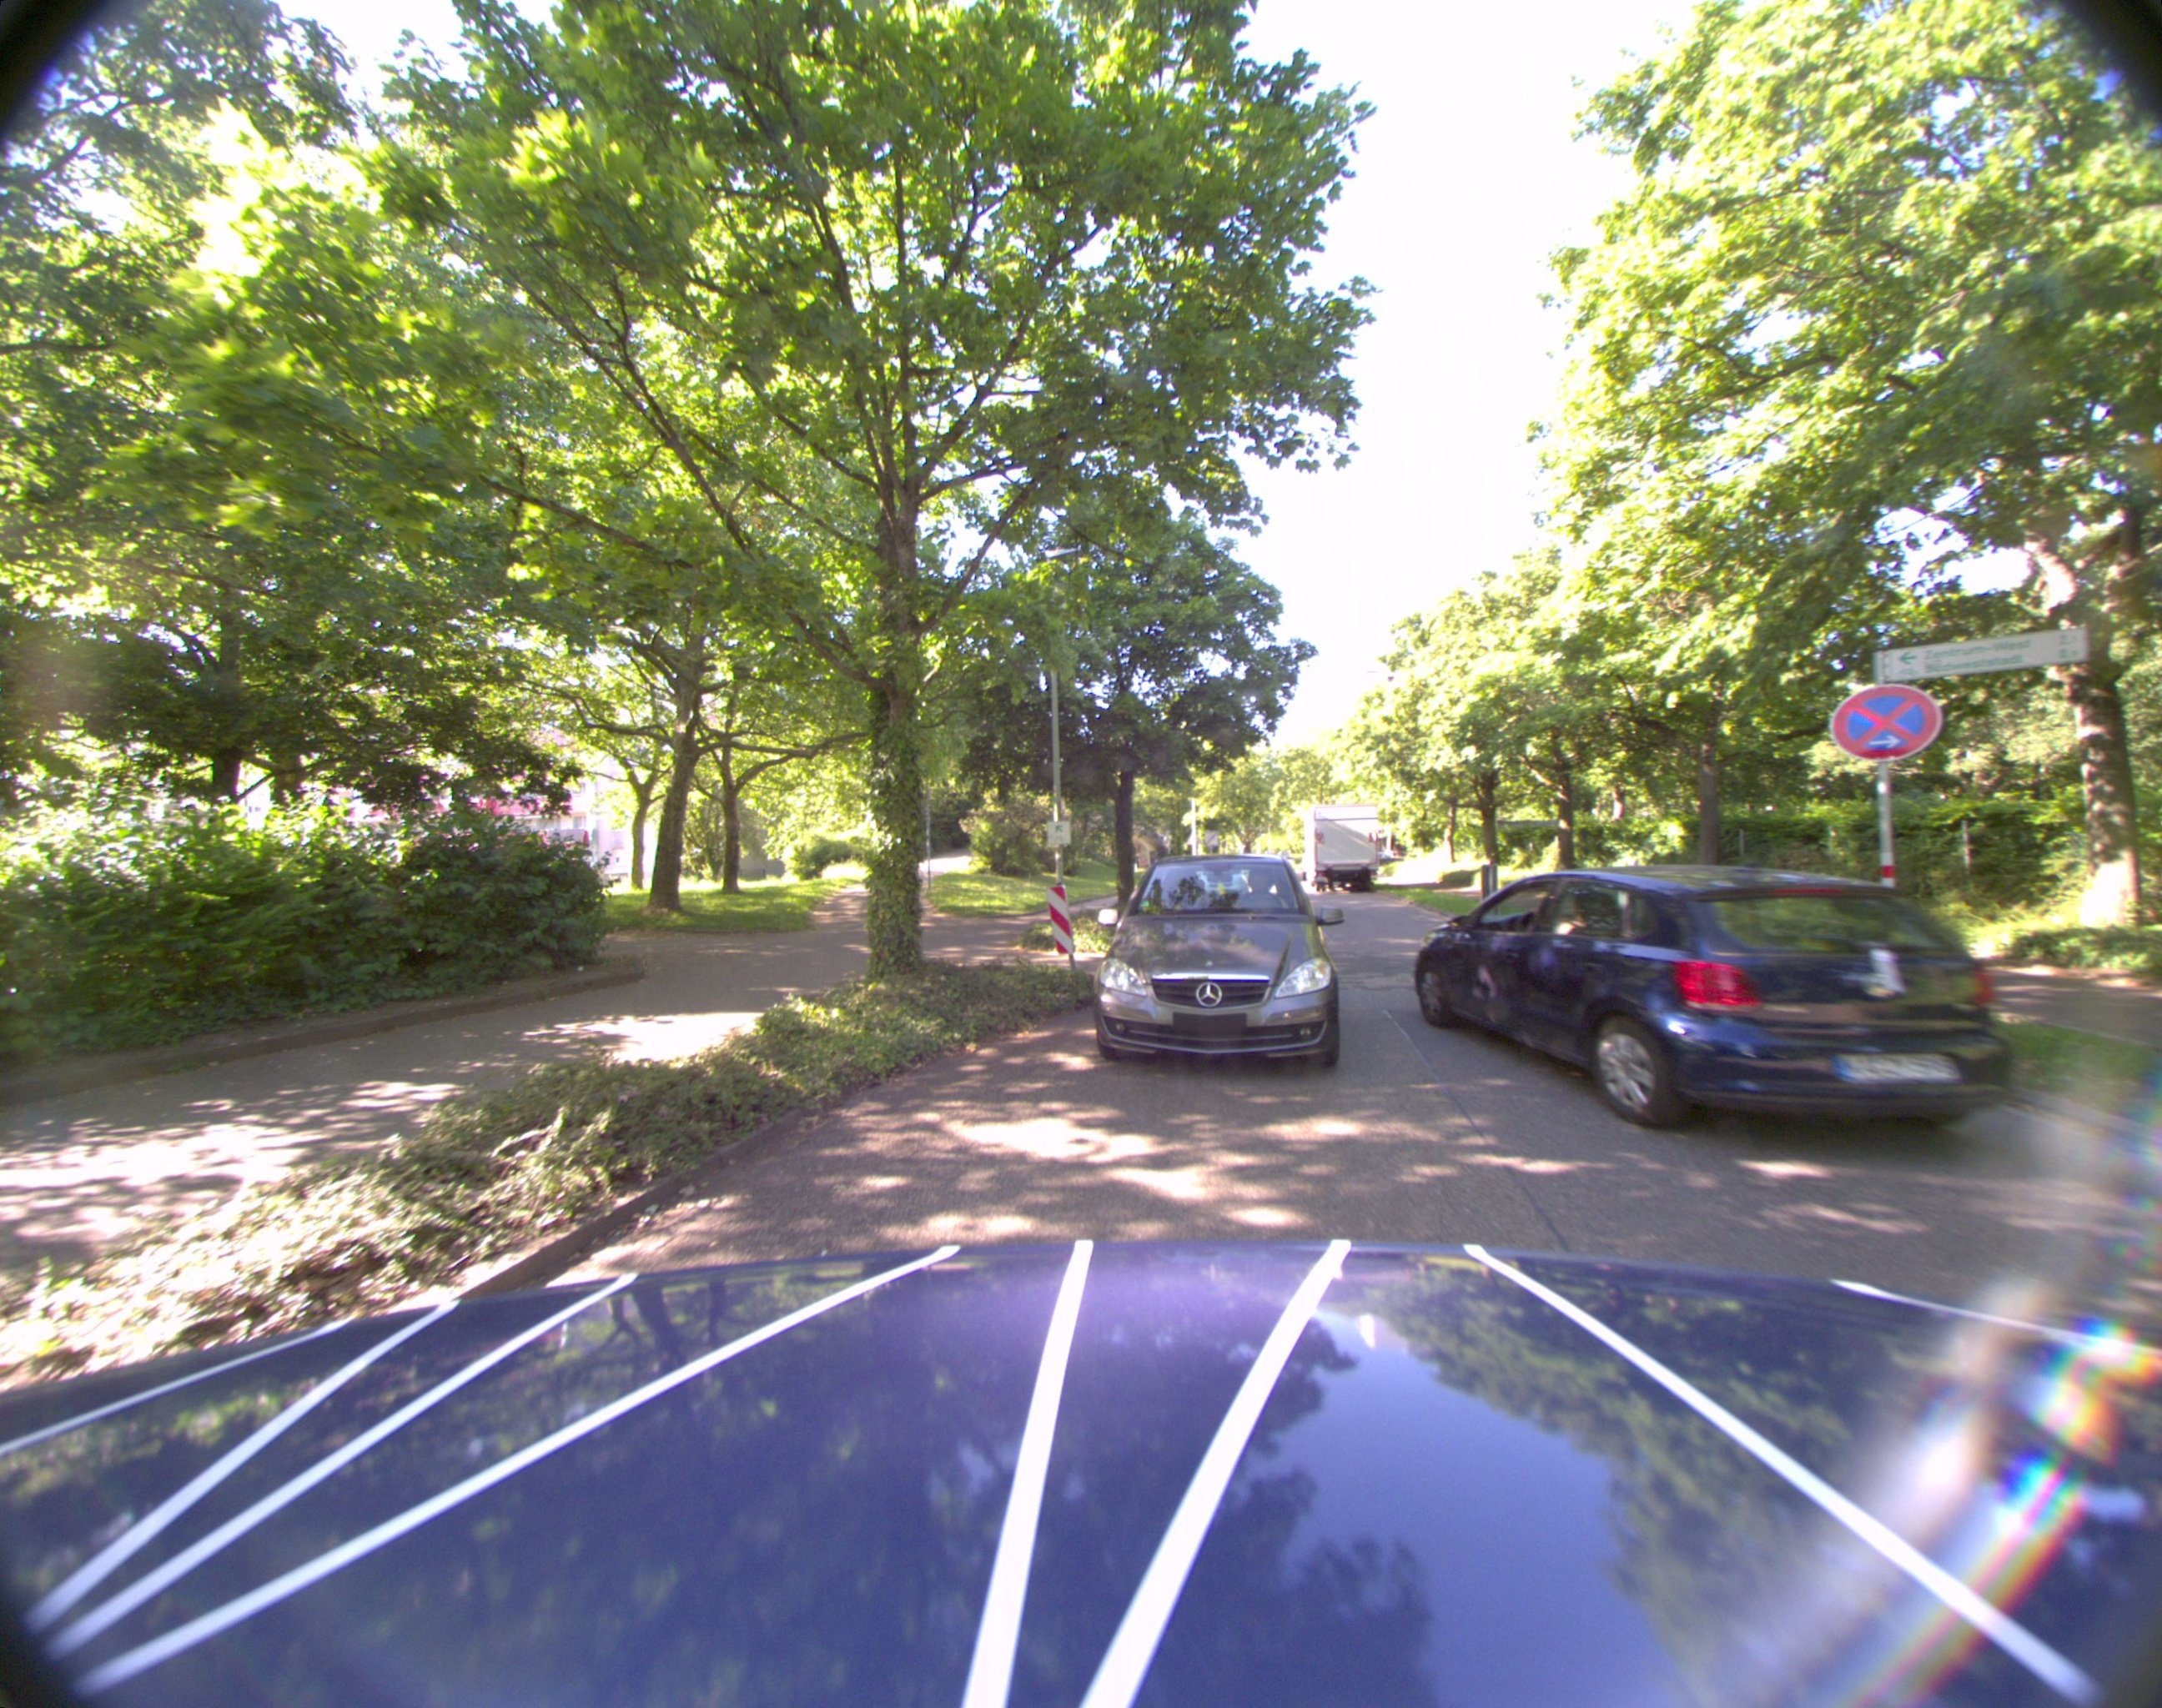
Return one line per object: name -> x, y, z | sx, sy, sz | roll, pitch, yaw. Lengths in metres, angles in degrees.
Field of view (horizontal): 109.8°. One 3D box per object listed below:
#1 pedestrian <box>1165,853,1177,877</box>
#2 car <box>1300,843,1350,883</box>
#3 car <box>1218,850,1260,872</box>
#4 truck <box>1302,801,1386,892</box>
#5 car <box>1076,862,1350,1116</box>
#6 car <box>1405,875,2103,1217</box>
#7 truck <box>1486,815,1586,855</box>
pedestrian -> 6.831, 0.819, 57.650 | 0.792, 1.821, 0.672 | -2, 0, 14
car -> 14.191, 0.490, 44.606 | 2.123, 2.083, 6.590 | -2, 0, 12
car -> 15.137, 0.706, 73.126 | 2.002, 2.002, 3.994 | -3, 0, -21
truck -> 11.891, -0.314, 35.027 | 2.738, 3.620, 8.109 | -2, 0, 13
car -> 1.252, 0.910, 6.974 | 1.732, 1.577, 4.004 | -2, 0, 12
car -> 3.758, 0.904, 5.203 | 1.604, 1.418, 3.652 | 0, 0, 1
truck -> 23.675, -0.952, 39.725 | 3.993, 2.002, 2.206 | 0, 0, 12
